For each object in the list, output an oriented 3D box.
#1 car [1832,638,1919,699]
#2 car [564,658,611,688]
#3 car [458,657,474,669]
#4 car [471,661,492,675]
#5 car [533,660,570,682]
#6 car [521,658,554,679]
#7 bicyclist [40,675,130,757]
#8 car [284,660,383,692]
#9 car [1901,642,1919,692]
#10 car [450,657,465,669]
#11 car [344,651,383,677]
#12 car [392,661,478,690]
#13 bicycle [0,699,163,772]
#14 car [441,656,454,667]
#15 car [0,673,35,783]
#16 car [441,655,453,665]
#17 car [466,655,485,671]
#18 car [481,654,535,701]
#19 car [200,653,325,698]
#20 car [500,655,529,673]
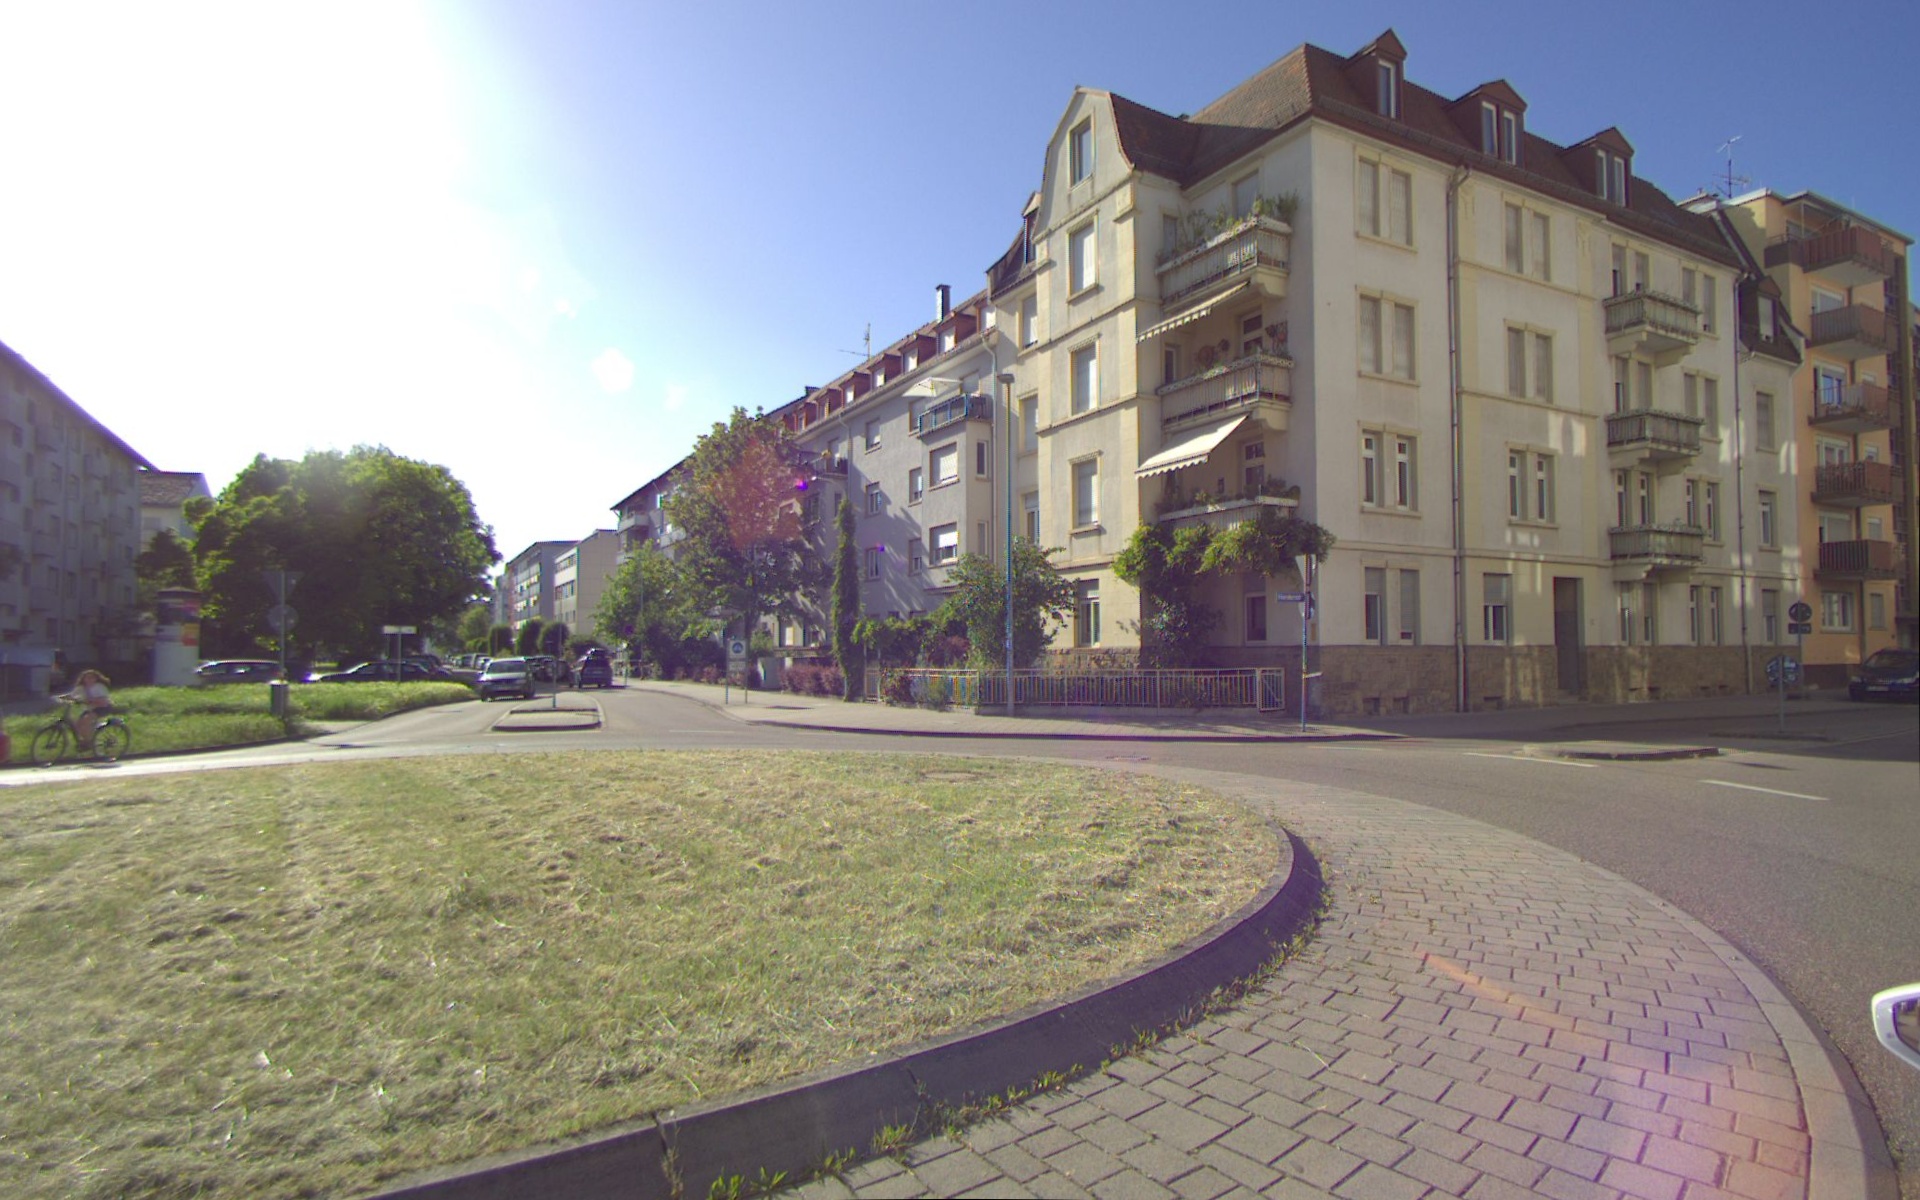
[{"bbox_3d":[29.111,2.074,31.186,4.242,1.794,1.755,1,-2,-29],"label":"car"},{"bbox_3d":[-20.208,3.912,54.399,1.828,1.559,3.972,1,-3,-28],"label":"car"},{"bbox_3d":[-68.177,8.679,138.510,1.828,1.694,3.972,1,-3,-28],"label":"car"},{"bbox_3d":[-52.524,7.433,110.193,1.828,1.398,3.972,1,-3,-28],"label":"car"},{"bbox_3d":[-26.734,4.631,65.687,1.828,1.398,3.972,1,-3,-28],"label":"car"},{"bbox_3d":[-29.966,4.814,71.179,1.828,1.398,3.972,1,-3,-28],"label":"car"},{"bbox_3d":[-15.126,1.990,17.388,0.795,1.329,0.826,0,-2,4],"label":"bicyclist"},{"bbox_3d":[-31.476,3.804,50.599,3.943,1.483,1.990,1,-3,-23],"label":"car"},{"bbox_3d":[33.860,2.250,33.980,4.243,1.642,1.755,1,-2,-29],"label":"car"},{"bbox_3d":[-75.844,9.511,151.519,1.828,1.694,3.972,1,-3,-28],"label":"car"},{"bbox_3d":[-38.078,4.068,64.071,1.833,1.542,3.962,2,-4,-35],"label":"car"},{"bbox_3d":[-28.622,4.098,54.804,3.960,1.505,1.834,2,-4,-35],"label":"car"},{"bbox_3d":[-15.135,2.309,17.385,0.795,1.027,2.212,0,-2,4],"label":"bicycle"},{"bbox_3d":[-85.613,10.277,167.697,1.828,1.694,3.972,1,-3,-28],"label":"car"},{"bbox_3d":[-13.995,1.640,12.021,1.688,1.400,3.991,-4,-4,32],"label":"car"},{"bbox_3d":[-90.682,10.606,177.509,1.828,1.694,3.972,1,-3,-28],"label":"car"},{"bbox_3d":[-58.006,7.539,120.292,1.828,1.929,3.972,1,-3,-28],"label":"car"},{"bbox_3d":[-18.099,3.055,40.337,1.854,1.718,4.251,0,-2,-23],"label":"car"},{"bbox_3d":[-29.299,3.165,42.350,3.943,1.795,1.990,1,-3,-23],"label":"car"},{"bbox_3d":[-35.746,5.123,80.568,1.828,1.398,3.972,1,-3,-28],"label":"car"}]
